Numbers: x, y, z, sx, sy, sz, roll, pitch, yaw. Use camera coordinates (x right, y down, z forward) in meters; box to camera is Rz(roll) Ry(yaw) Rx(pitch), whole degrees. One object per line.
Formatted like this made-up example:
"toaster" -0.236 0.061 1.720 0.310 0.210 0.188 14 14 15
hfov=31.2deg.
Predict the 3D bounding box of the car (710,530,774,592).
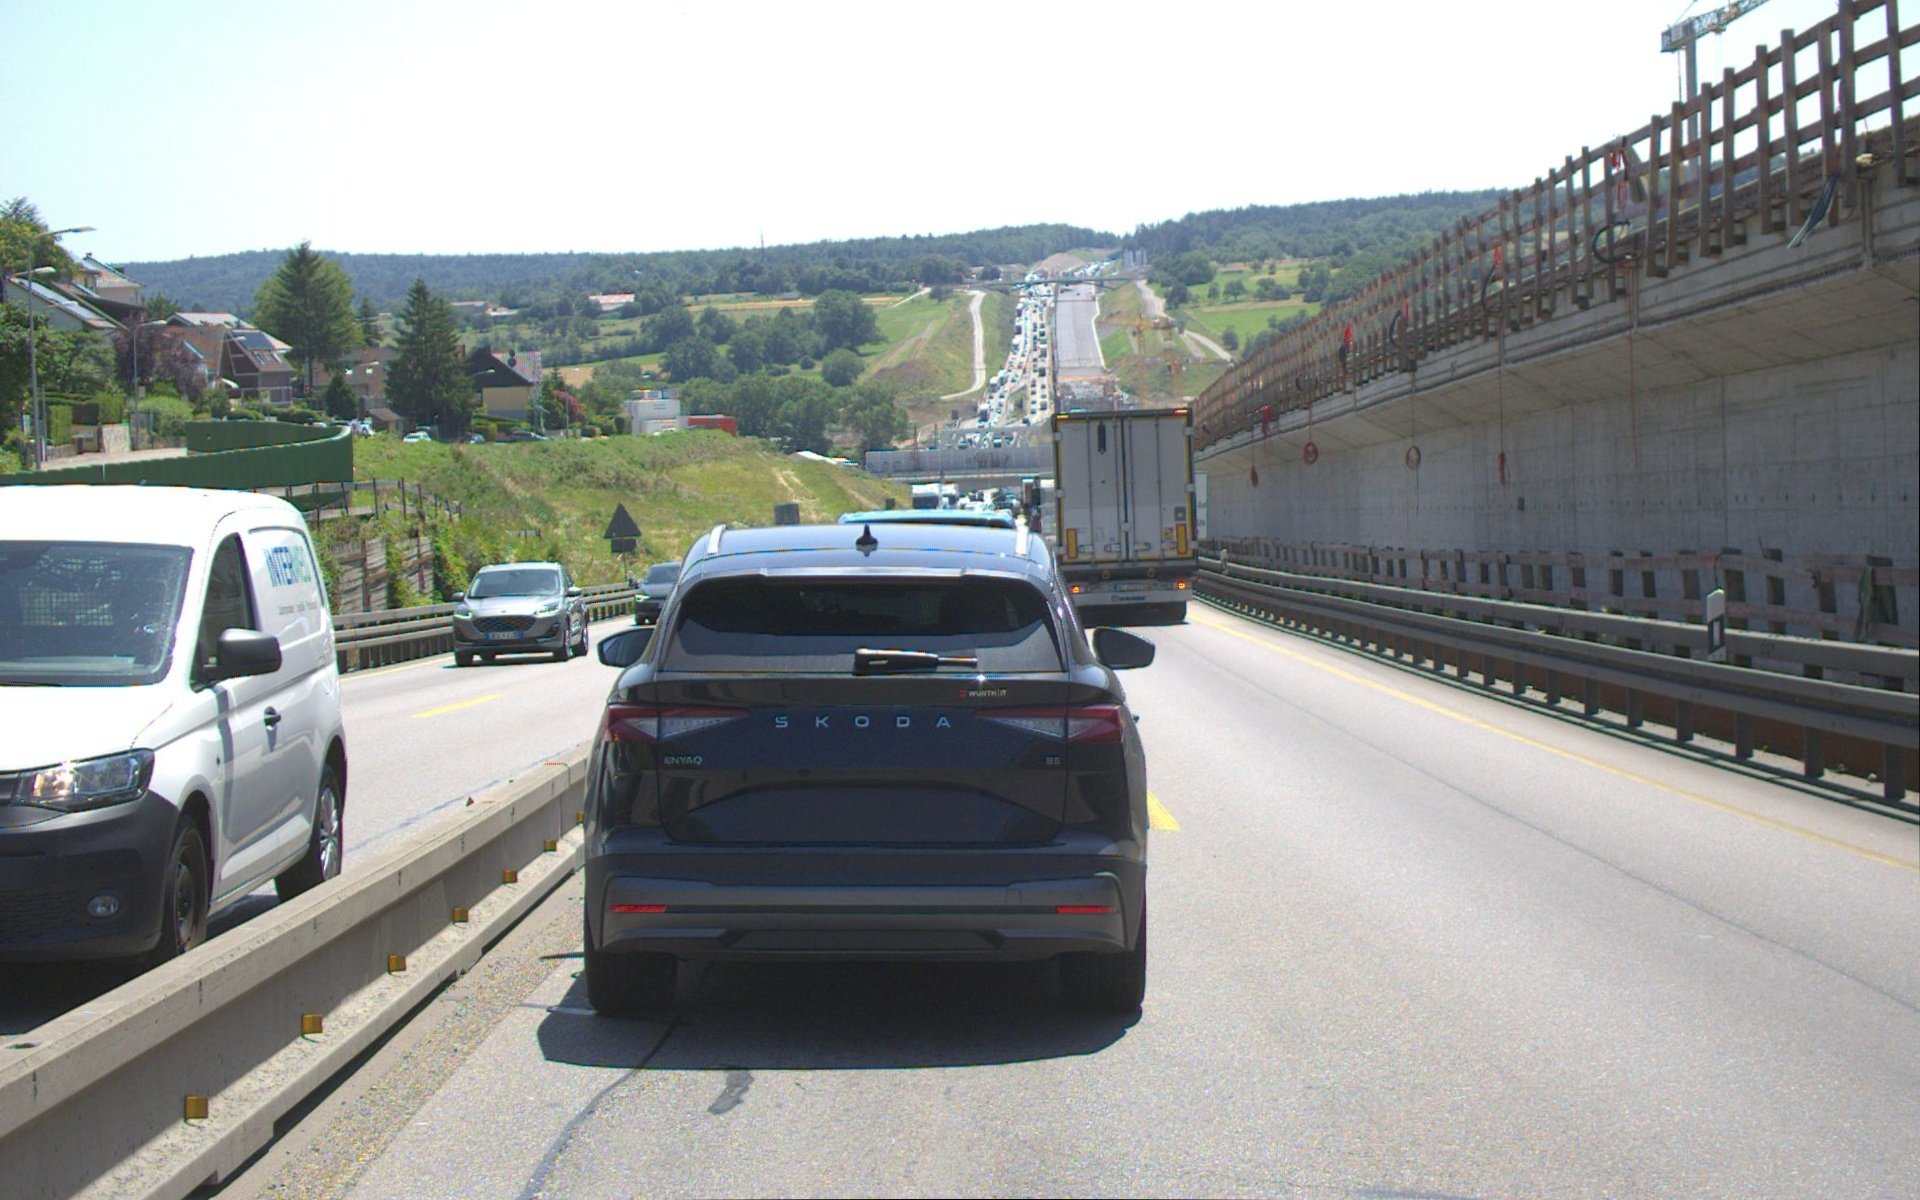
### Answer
"car" -7.078 -1.281 111.127 1.825 1.919 5.244 -1 1 -6

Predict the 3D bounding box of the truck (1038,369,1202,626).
"truck" 3.061 -1.915 68.741 2.846 4.599 11.811 -2 0 1

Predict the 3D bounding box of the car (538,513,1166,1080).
"car" -0.322 0.550 12.030 1.782 1.592 3.755 -3 1 0

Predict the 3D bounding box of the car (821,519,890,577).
"car" -3.531 -1.760 117.517 2.157 1.899 5.326 -1 0 0

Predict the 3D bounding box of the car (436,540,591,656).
"car" -7.357 -0.043 57.044 1.993 1.821 4.509 1 0 0

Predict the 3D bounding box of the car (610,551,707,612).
"car" -7.287 -0.454 83.426 1.993 1.437 4.364 1 0 0

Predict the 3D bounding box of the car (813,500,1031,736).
"car" -0.350 0.116 29.601 1.749 1.889 3.755 0 1 -1

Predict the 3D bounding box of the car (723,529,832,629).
"car" -3.899 -0.455 74.206 1.993 2.007 4.969 -2 0 0

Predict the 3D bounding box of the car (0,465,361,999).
"car" -3.552 0.401 13.292 1.809 1.735 4.257 0 1 -1
